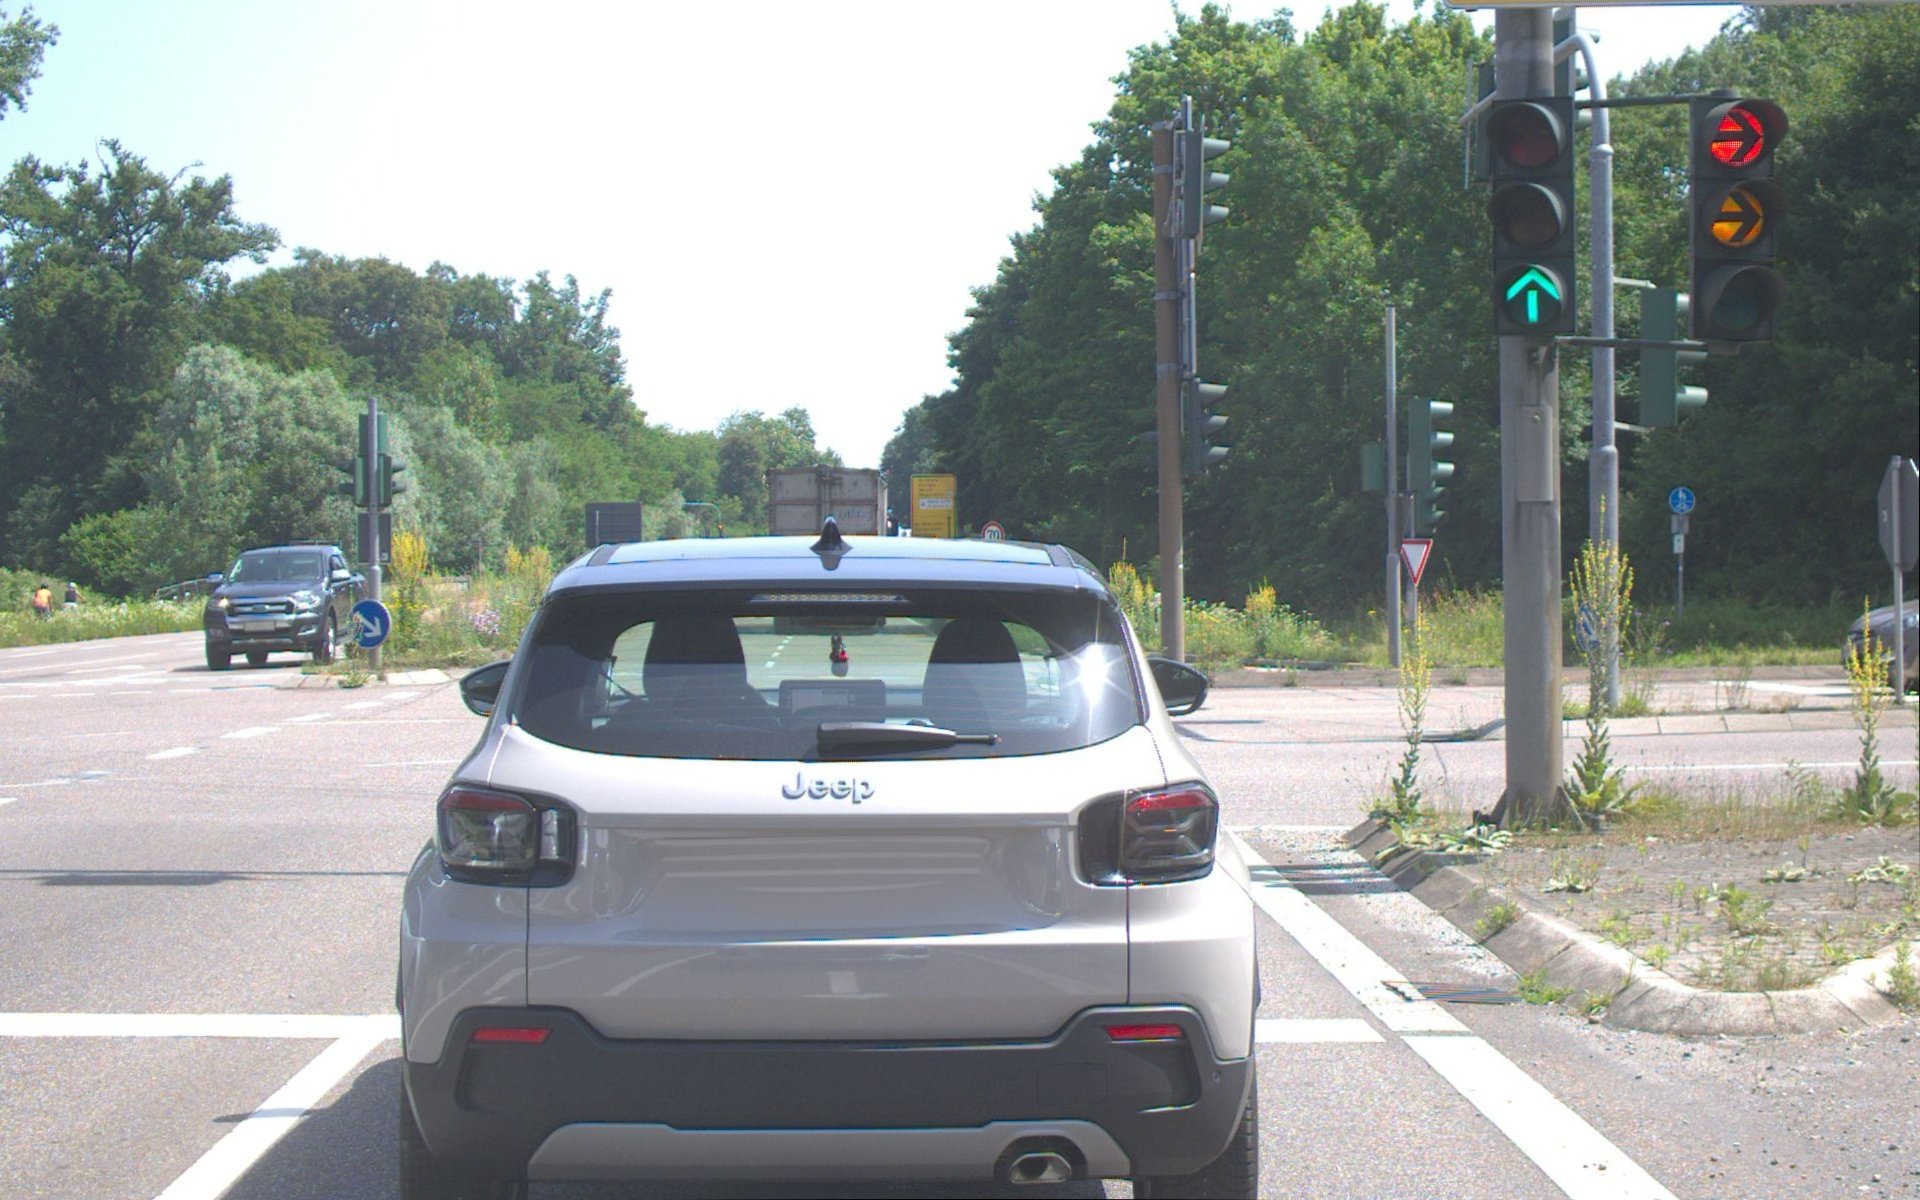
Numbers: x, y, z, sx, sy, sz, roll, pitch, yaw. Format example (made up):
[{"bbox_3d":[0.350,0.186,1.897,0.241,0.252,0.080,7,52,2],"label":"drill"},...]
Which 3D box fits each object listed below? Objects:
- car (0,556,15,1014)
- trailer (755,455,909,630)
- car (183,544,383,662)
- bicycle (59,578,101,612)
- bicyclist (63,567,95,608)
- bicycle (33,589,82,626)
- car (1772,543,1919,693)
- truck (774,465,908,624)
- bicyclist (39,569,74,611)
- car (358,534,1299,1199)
[{"bbox_3d":[-3.794,0.588,8.880,1.665,1.425,3.828,1,1,0],"label":"car"},{"bbox_3d":[-3.022,-1.359,84.395,3.382,3.975,10.804,1,0,0],"label":"trailer"},{"bbox_3d":[-10.324,0.008,52.810,1.993,1.672,5.365,-2,1,0],"label":"car"},{"bbox_3d":[-26.571,-0.154,103.852,0.604,1.002,1.555,-2,0,10],"label":"bicycle"},{"bbox_3d":[-26.599,-0.378,103.768,0.735,1.191,0.592,-2,0,10],"label":"bicyclist"},{"bbox_3d":[-26.108,0.217,99.507,0.676,1.002,1.800,-2,1,9],"label":"bicycle"},{"bbox_3d":[10.499,0.136,34.642,4.091,1.442,1.996,-1,1,-3],"label":"car"},{"bbox_3d":[-3.092,-1.418,90.144,3.332,3.975,6.534,1,0,-1],"label":"truck"},{"bbox_3d":[-26.149,-0.298,99.472,0.757,1.191,0.592,-2,1,9],"label":"bicyclist"},{"bbox_3d":[-0.263,0.616,8.469,1.767,1.529,4.000,0,1,0],"label":"car"}]
